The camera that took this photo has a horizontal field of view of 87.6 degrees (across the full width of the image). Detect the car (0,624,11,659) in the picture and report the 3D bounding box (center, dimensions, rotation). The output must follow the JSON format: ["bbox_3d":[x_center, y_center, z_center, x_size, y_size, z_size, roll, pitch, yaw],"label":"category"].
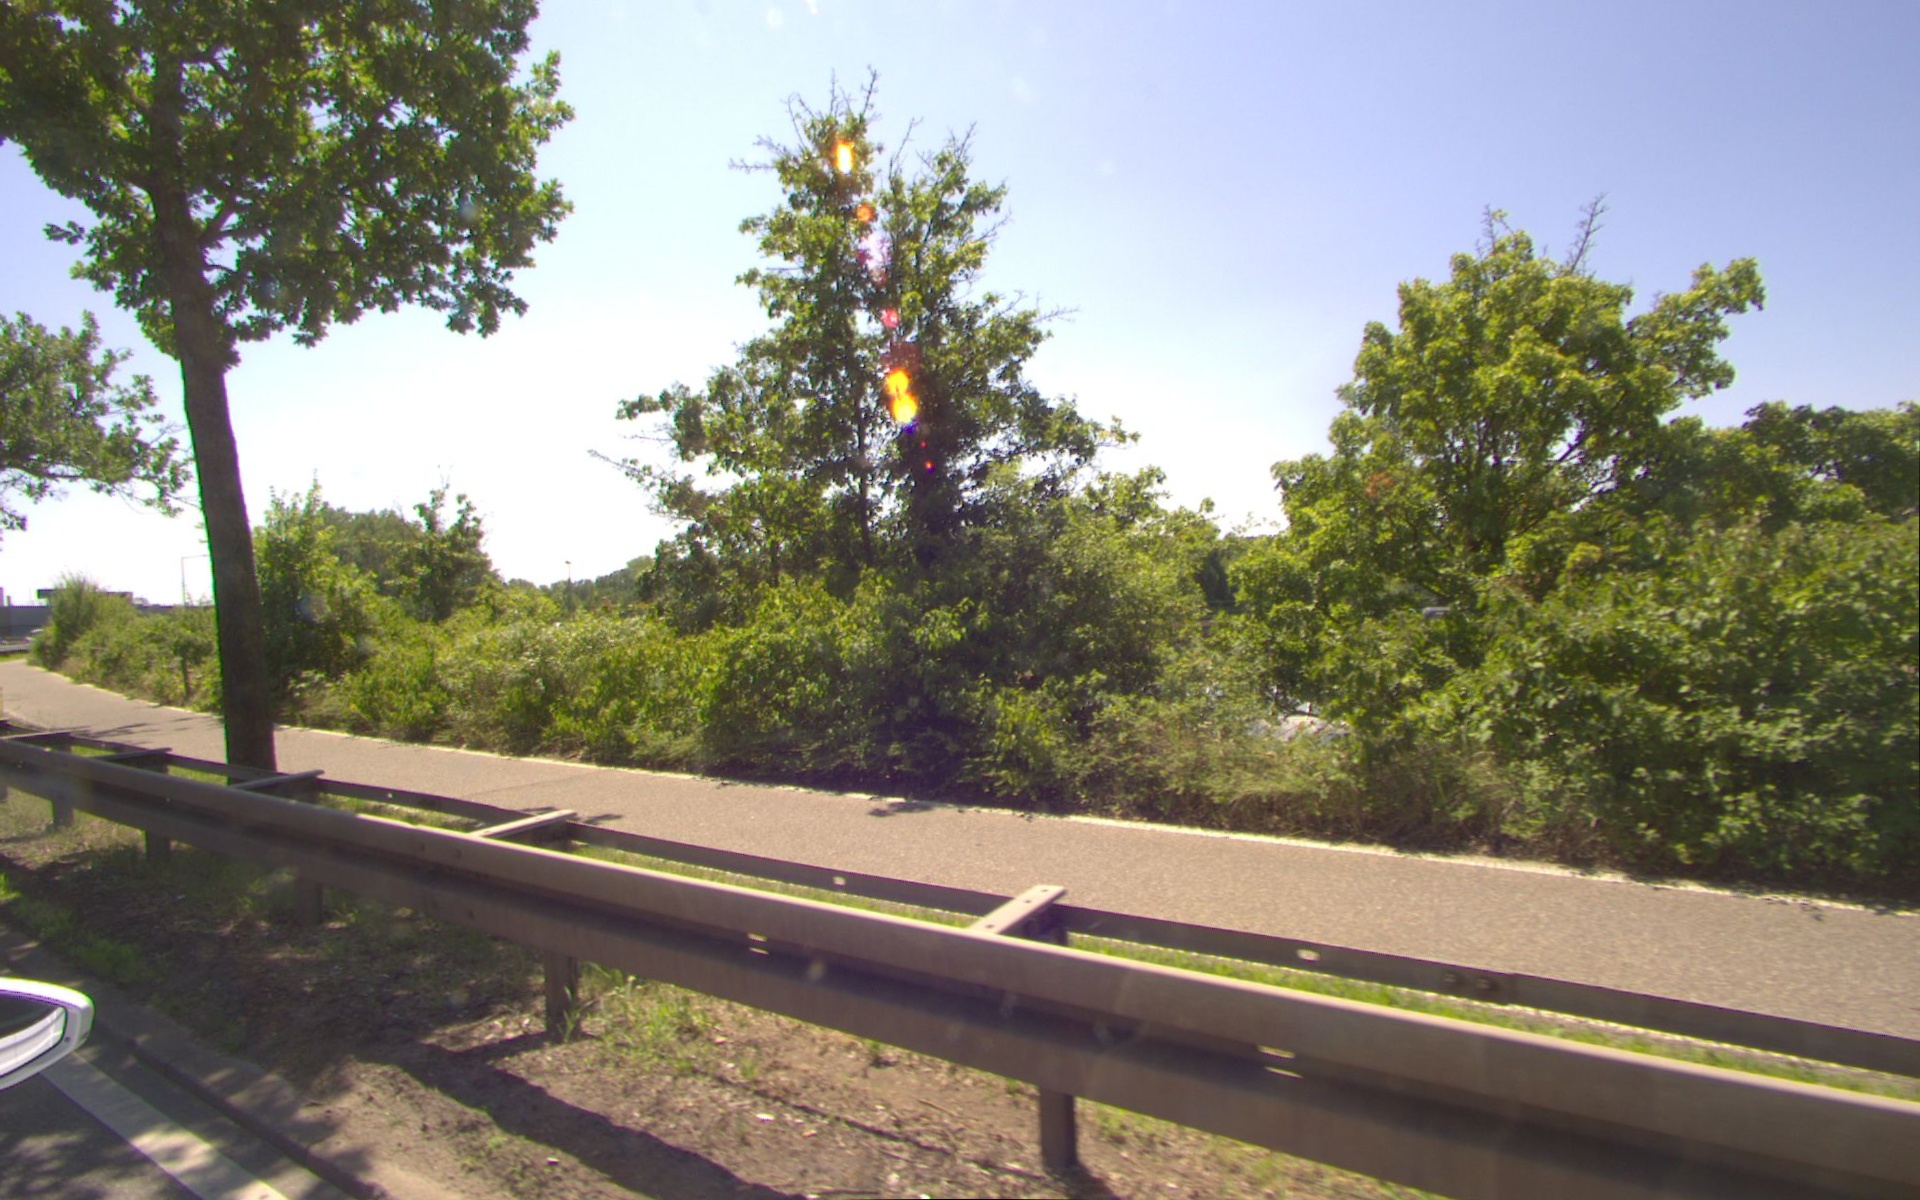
[{"bbox_3d":[-48.447,2.033,49.227,1.976,1.739,4.834,1,-2,-37],"label":"car"}]

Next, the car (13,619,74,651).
[{"bbox_3d":[-54.539,2.071,59.684,1.974,1.790,4.725,1,-2,-34],"label":"car"}]
